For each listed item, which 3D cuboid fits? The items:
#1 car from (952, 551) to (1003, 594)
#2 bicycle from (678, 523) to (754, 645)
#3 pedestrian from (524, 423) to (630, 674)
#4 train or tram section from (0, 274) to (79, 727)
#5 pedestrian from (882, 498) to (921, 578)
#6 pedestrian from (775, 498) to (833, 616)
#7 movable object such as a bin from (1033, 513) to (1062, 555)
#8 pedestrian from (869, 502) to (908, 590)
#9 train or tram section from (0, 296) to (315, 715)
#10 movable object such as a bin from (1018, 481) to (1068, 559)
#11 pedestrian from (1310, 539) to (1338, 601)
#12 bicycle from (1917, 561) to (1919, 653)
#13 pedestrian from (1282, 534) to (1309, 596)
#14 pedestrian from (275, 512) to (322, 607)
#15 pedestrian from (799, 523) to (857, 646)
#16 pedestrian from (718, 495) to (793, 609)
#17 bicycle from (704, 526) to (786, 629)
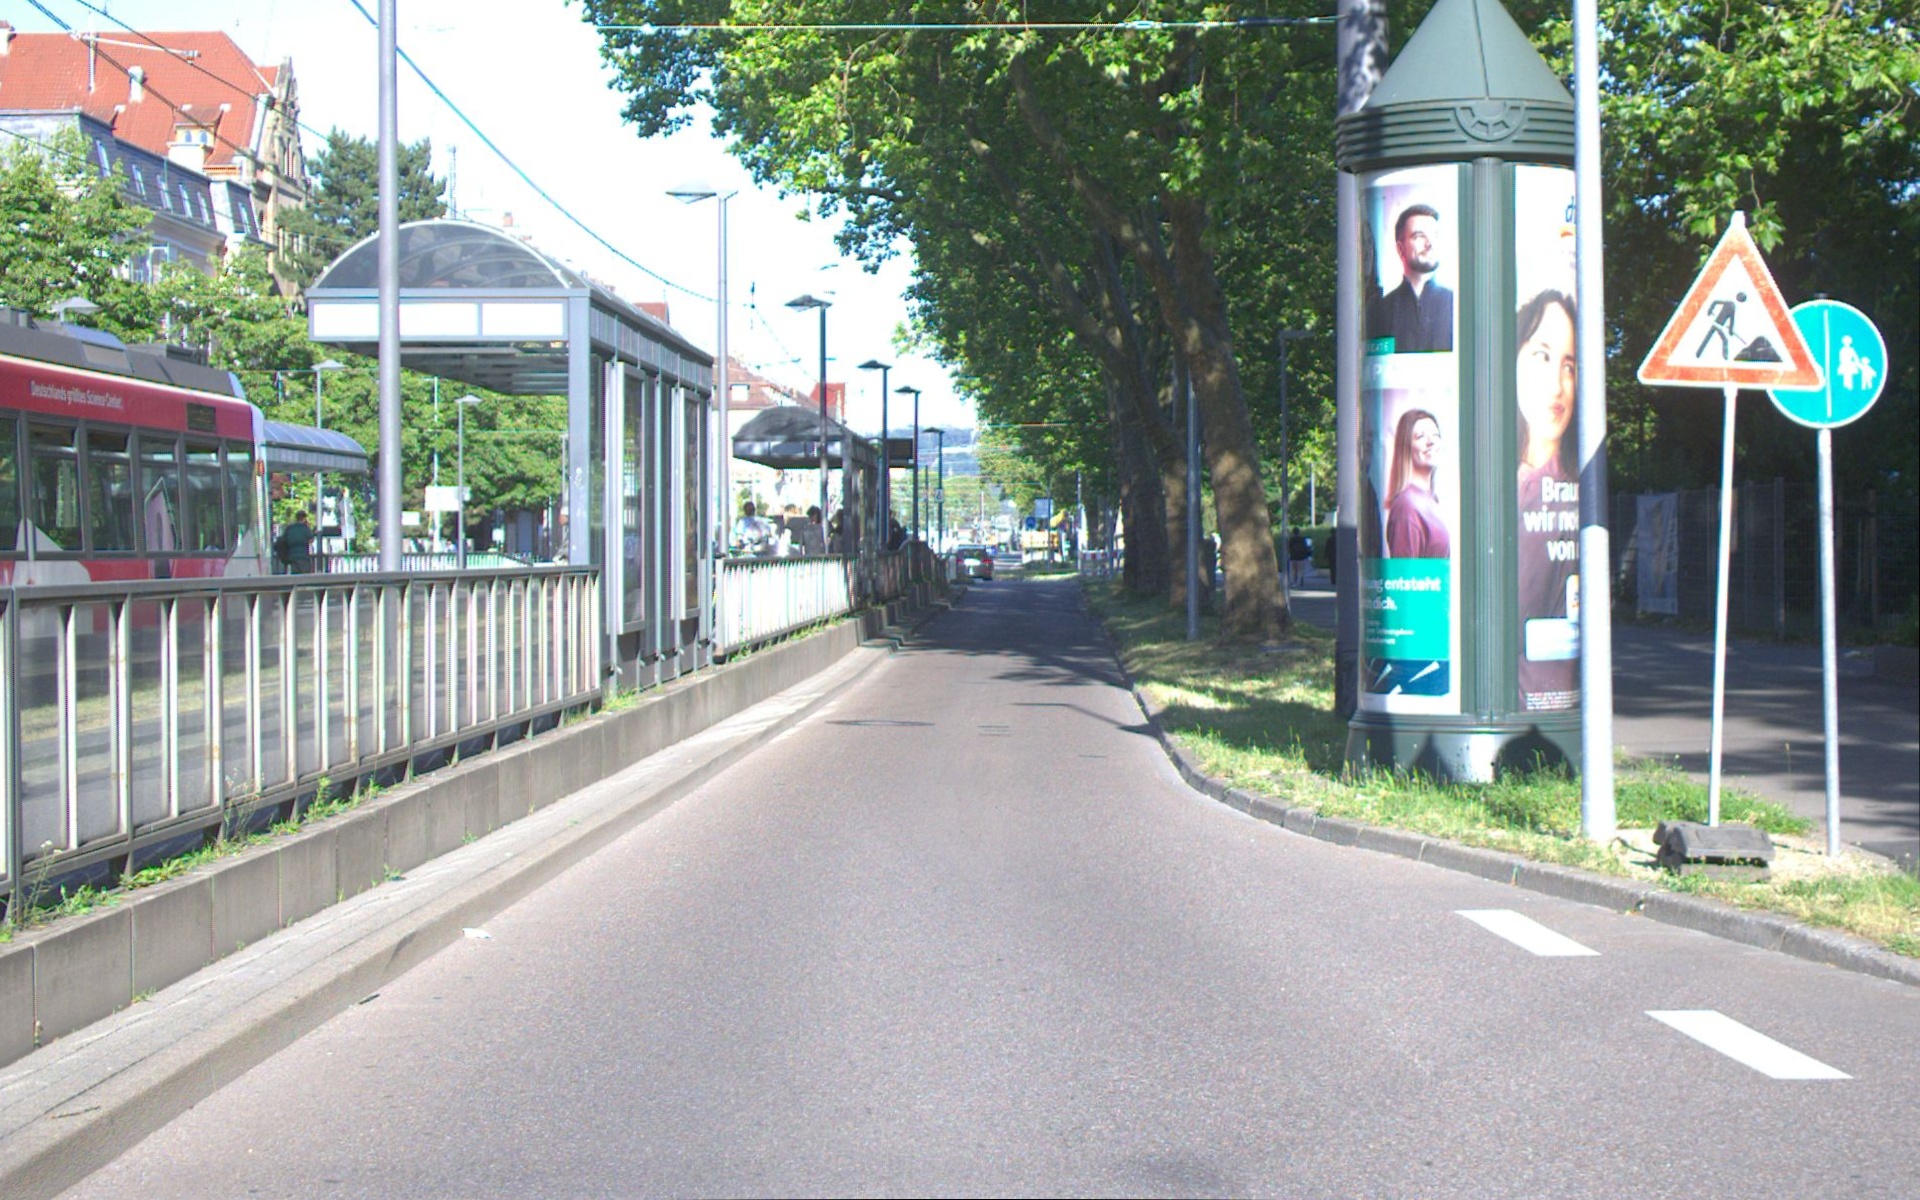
[{"bbox_3d":[0.742,-1.149,143.341,1.993,1.678,4.000,2,1,1],"label":"car"},{"bbox_3d":[-2.360,-0.166,33.406,0.513,1.129,2.103,2,1,1],"label":"bicycle"},{"bbox_3d":[-2.968,-0.398,26.681,0.669,1.896,0.824,2,1,1],"label":"pedestrian"},{"bbox_3d":[-9.359,-0.722,22.883,2.870,3.673,14.560,0,1,2],"label":"train or tram section"},{"bbox_3d":[-1.261,-1.340,74.394,0.757,1.684,0.678,2,1,2],"label":"pedestrian"},{"bbox_3d":[-2.115,-0.585,46.666,0.678,1.556,0.851,2,1,1],"label":"pedestrian"},{"bbox_3d":[6.546,-4.924,256.699,1.968,3.003,4.796,-3,1,1],"label":"movable object such as a bin"},{"bbox_3d":[-1.400,-1.062,67.371,0.679,1.684,0.894,2,1,2],"label":"pedestrian"},{"bbox_3d":[-9.038,-0.899,34.991,2.870,3.673,9.684,0,1,2],"label":"train or tram section"},{"bbox_3d":[5.611,-5.407,234.549,3.087,5.071,8.892,-3,1,1],"label":"movable object such as a bin"},{"bbox_3d":[9.794,-0.816,92.517,0.650,1.651,0.783,-1,1,1],"label":"pedestrian"},{"bbox_3d":[11.310,0.044,38.298,0.789,1.173,1.820,2,1,1],"label":"bicycle"},{"bbox_3d":[9.040,-0.939,92.568,0.627,1.651,0.740,-1,1,1],"label":"pedestrian"},{"bbox_3d":[-11.947,-0.741,62.092,0.679,1.684,0.654,2,1,-1],"label":"pedestrian"},{"bbox_3d":[-1.918,-0.236,50.030,0.765,1.752,0.695,2,1,1],"label":"pedestrian"},{"bbox_3d":[-3.141,-0.736,52.731,0.907,1.716,0.631,1,1,-32],"label":"pedestrian"},{"bbox_3d":[-2.453,-0.270,39.385,0.737,1.129,2.031,2,1,1],"label":"bicycle"}]
